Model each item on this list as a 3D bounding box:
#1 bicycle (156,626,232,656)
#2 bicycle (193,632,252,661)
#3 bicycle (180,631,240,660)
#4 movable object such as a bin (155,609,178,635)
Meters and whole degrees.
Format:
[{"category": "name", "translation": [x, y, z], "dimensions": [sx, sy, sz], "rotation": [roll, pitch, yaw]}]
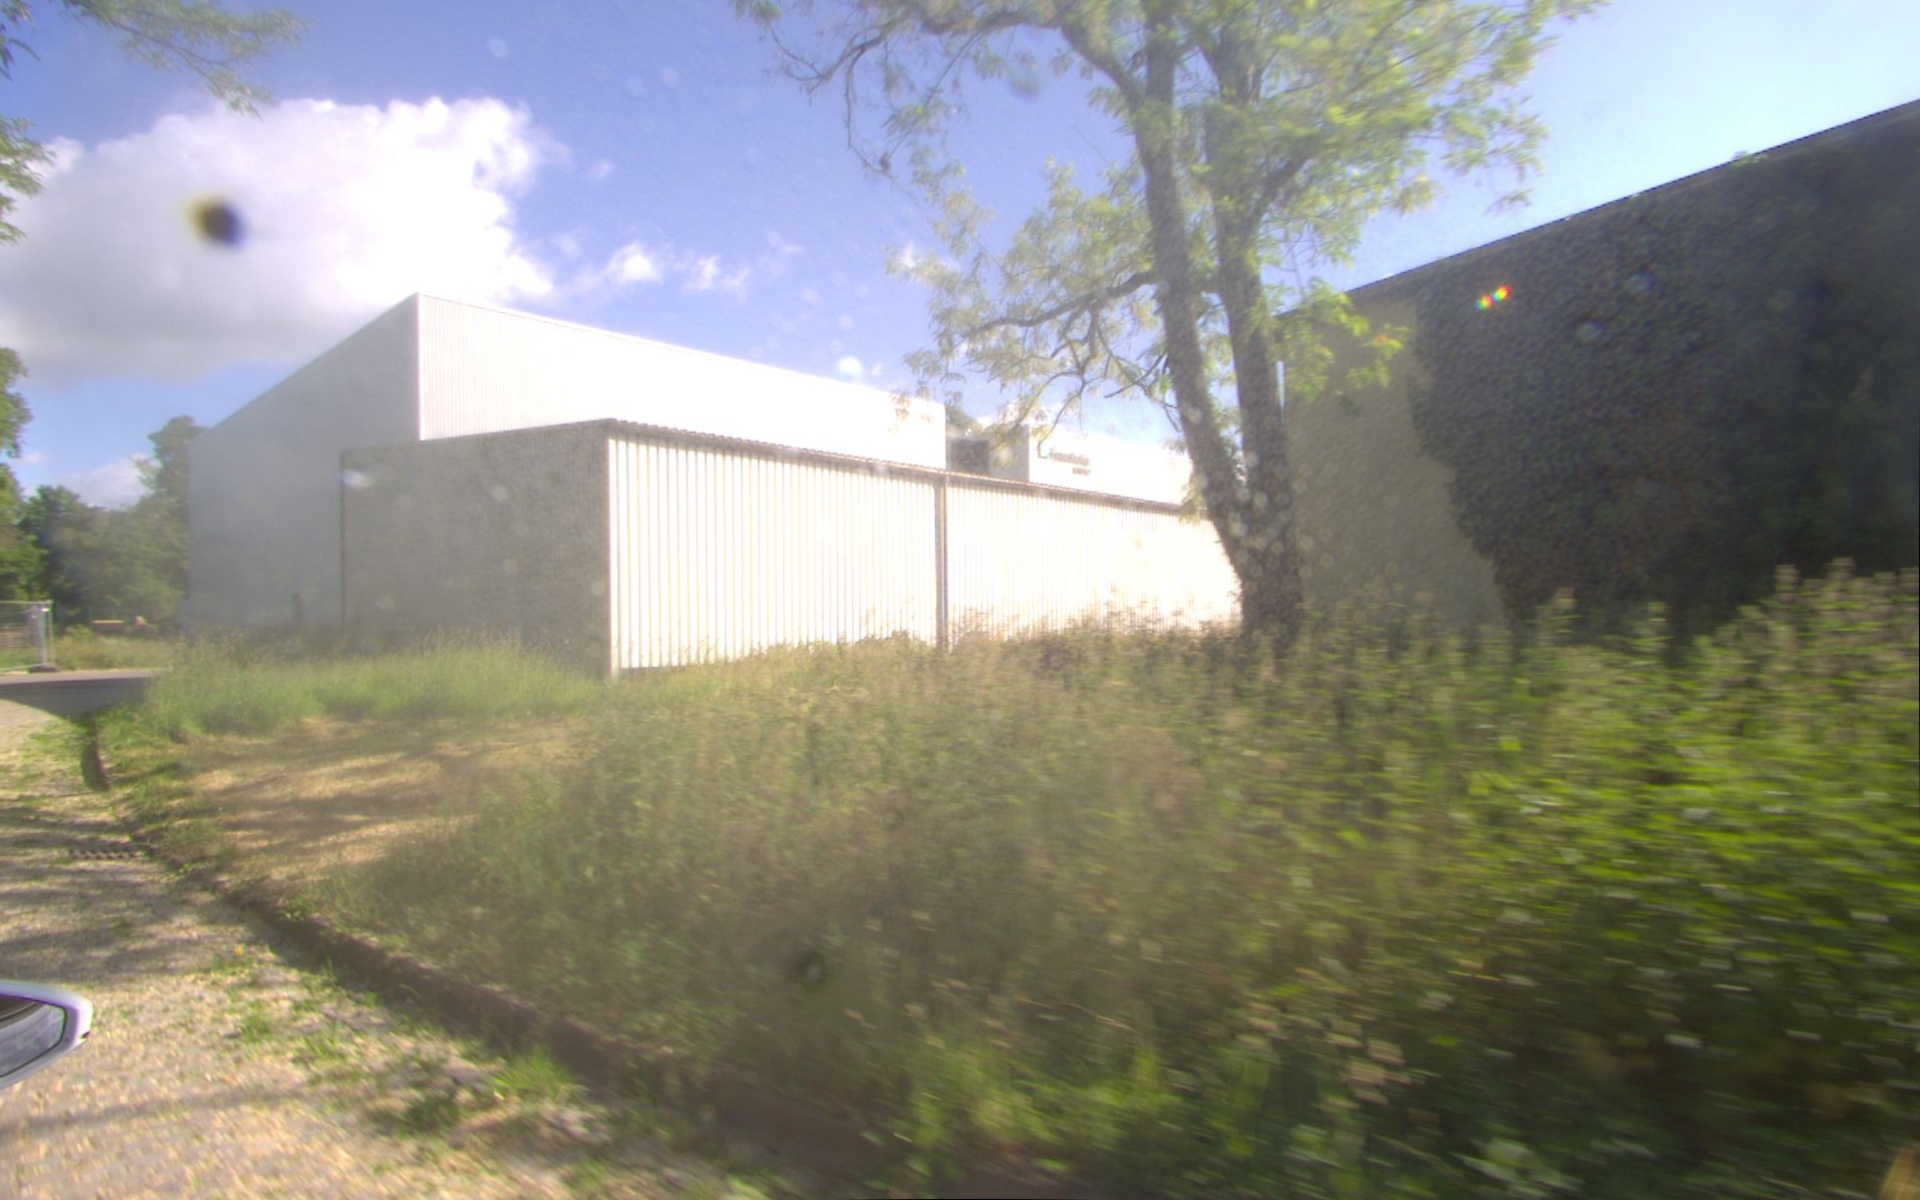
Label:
[{"category": "bicycle", "translation": [-34.010, 1.813, 44.477], "dimensions": [2.612, 1.282, 1.130], "rotation": [1, -1, -43]}, {"category": "bicycle", "translation": [-28.419, 1.779, 38.612], "dimensions": [0.519, 1.096, 1.781], "rotation": [0, -1, 45]}, {"category": "bicycle", "translation": [-30.223, 1.824, 40.380], "dimensions": [0.520, 1.109, 1.878], "rotation": [-1, -1, 42]}, {"category": "movable object such as a bin", "translation": [-63.187, 1.747, 79.756], "dimensions": [1.408, 2.040, 1.115], "rotation": [0, -1, -42]}]
